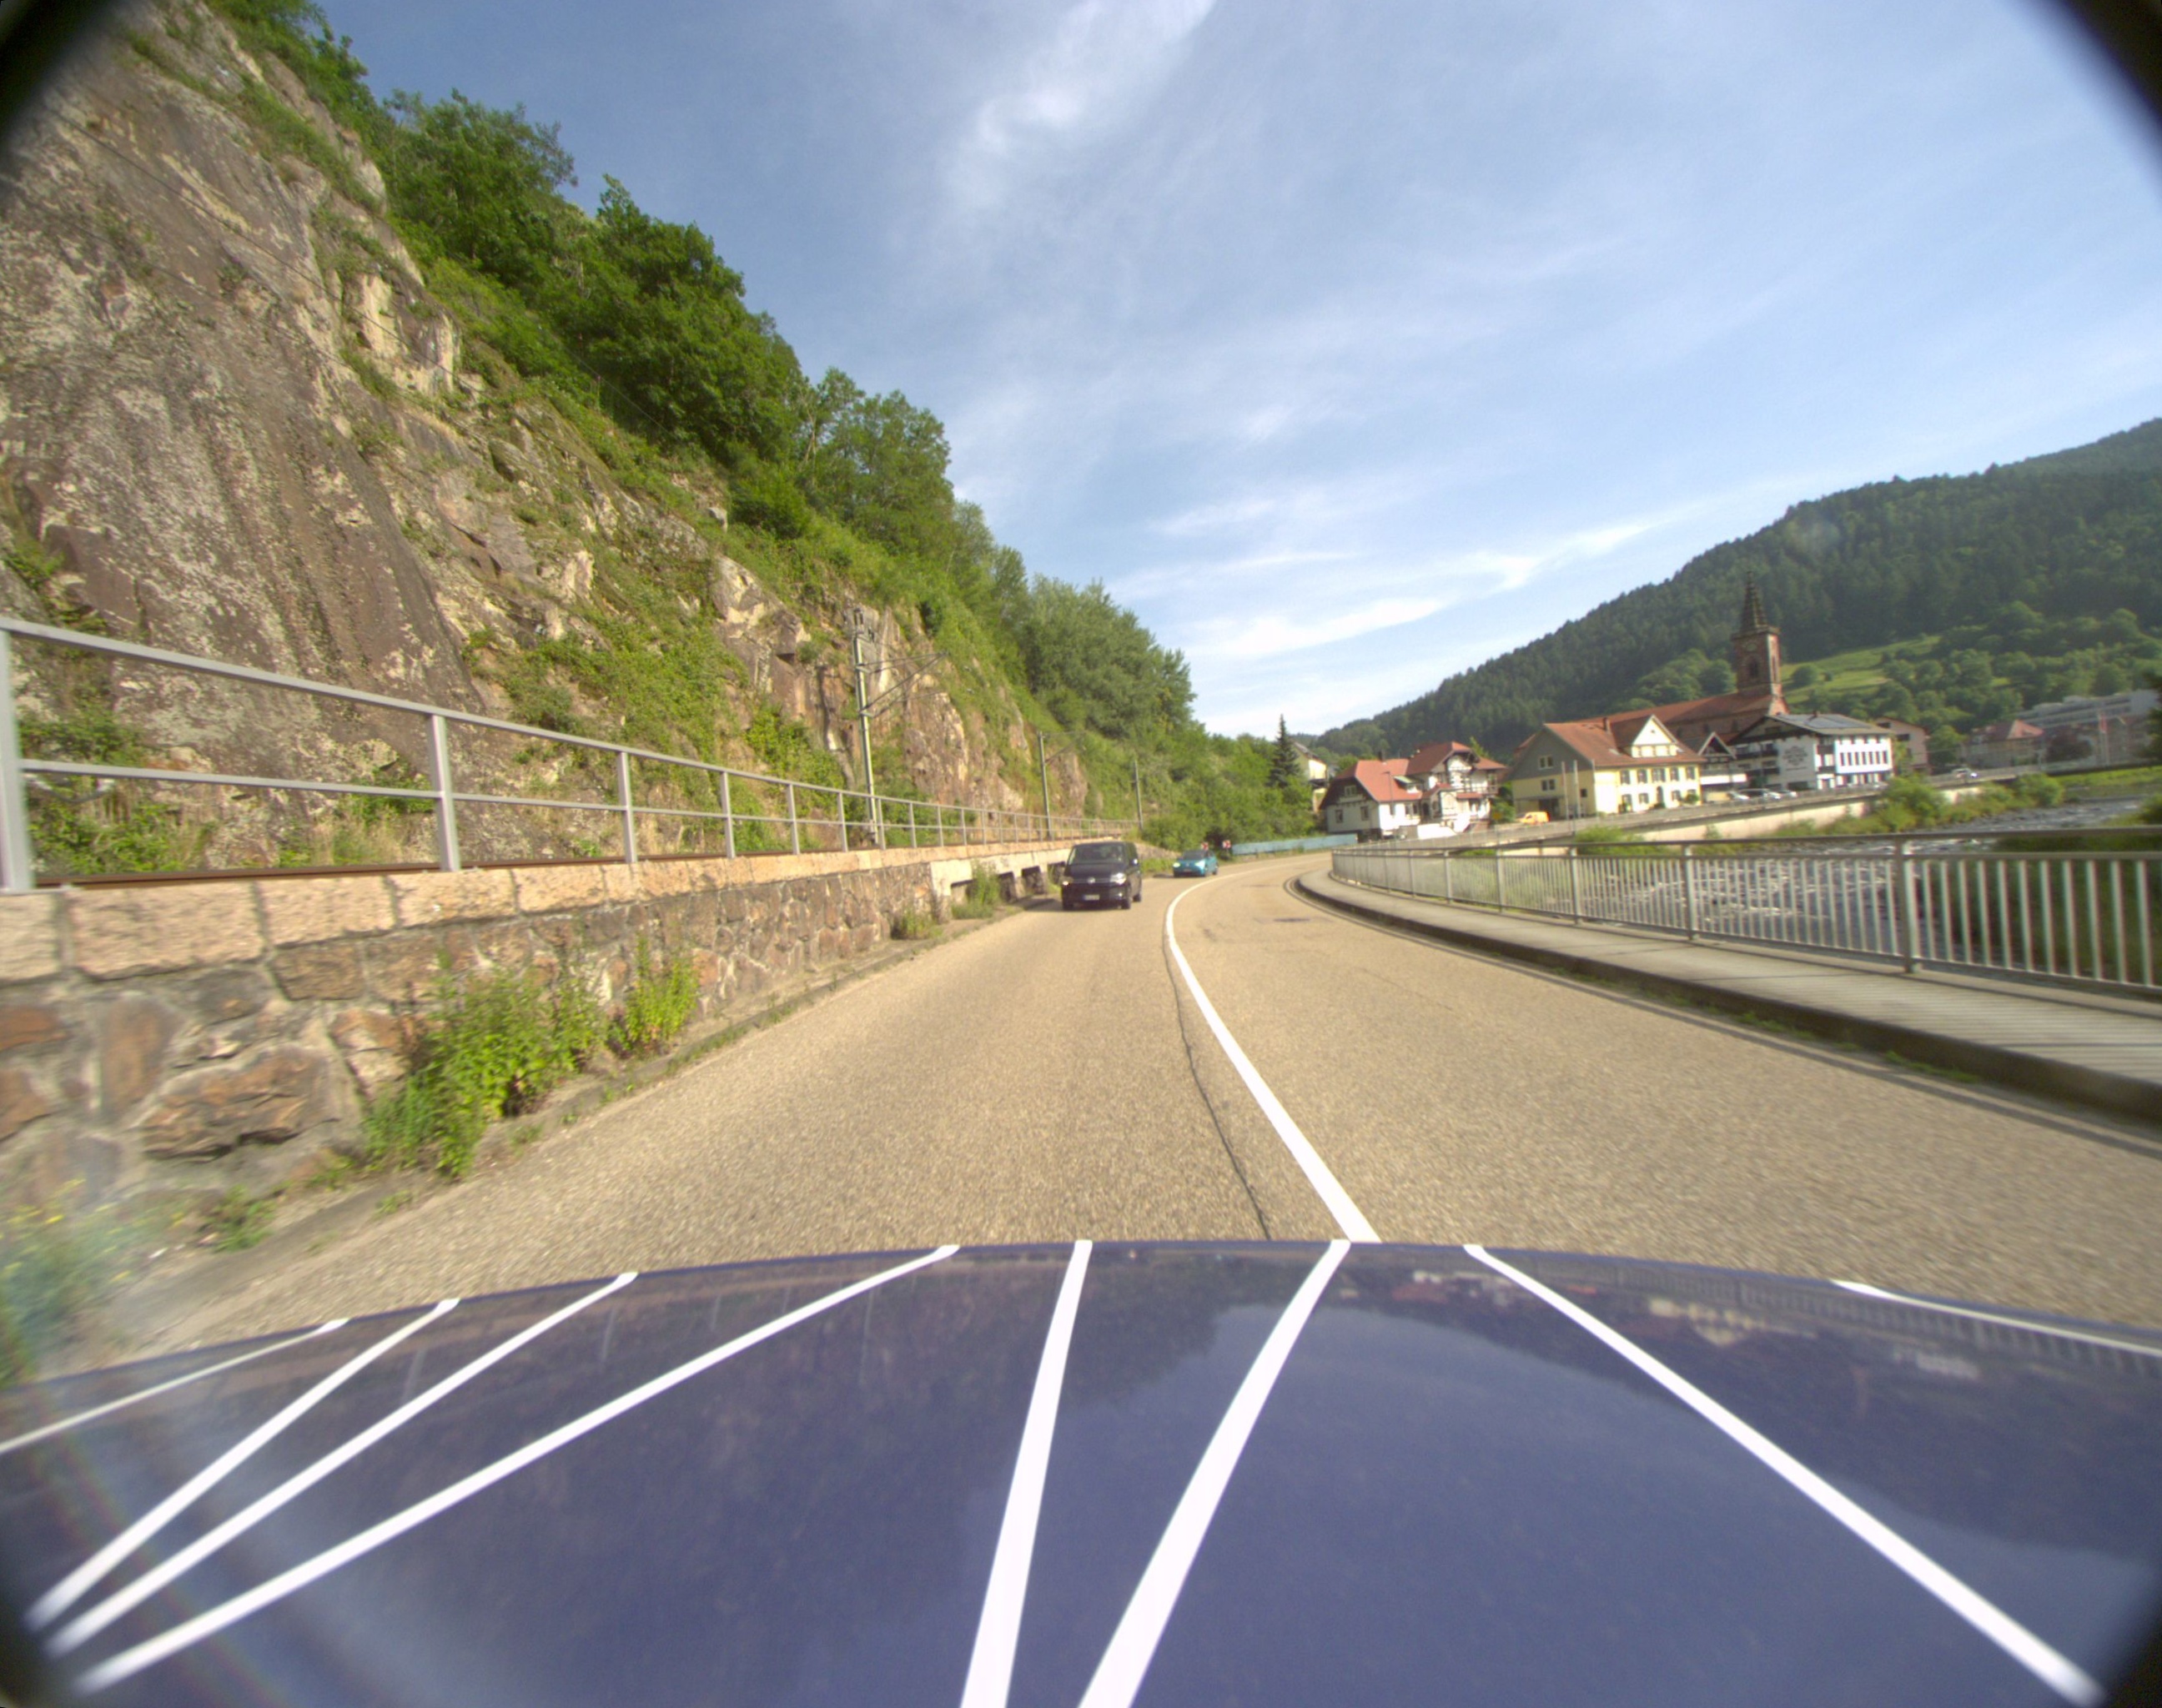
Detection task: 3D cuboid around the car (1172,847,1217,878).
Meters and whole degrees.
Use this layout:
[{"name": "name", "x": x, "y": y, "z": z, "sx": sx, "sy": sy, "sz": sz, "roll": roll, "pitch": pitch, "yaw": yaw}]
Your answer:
[{"name": "car", "x": 6.451, "y": 0.440, "z": 42.909, "sx": 1.680, "sy": 1.513, "sz": 3.871, "roll": -3, "pitch": 0, "yaw": 20}]

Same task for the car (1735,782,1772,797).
[{"name": "car", "x": 96.827, "y": -9.256, "z": 109.481, "sx": 1.372, "sy": 1.883, "sz": 3.750, "roll": -6, "pitch": 5, "yaw": -20}]

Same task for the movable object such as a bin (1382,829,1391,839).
[{"name": "movable object such as a bin", "x": 33.512, "y": -2.181, "z": 83.397, "sx": 0.753, "sy": 1.056, "sz": 0.478, "roll": -6, "pitch": 1, "yaw": -27}]

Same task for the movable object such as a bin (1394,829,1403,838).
[{"name": "movable object such as a bin", "x": 34.289, "y": -2.185, "z": 82.118, "sx": 0.653, "sy": 0.931, "sz": 0.472, "roll": -6, "pitch": 0, "yaw": -27}]

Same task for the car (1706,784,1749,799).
[{"name": "car", "x": 93.609, "y": -9.077, "z": 110.153, "sx": 1.715, "sy": 1.948, "sz": 4.447, "roll": -6, "pitch": 5, "yaw": -20}]

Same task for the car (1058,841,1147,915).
[{"name": "car", "x": 0.767, "y": 0.620, "z": 22.776, "sx": 1.886, "sy": 1.952, "sz": 4.869, "roll": -1, "pitch": 1, "yaw": 10}]

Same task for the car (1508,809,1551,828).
[{"name": "car", "x": 54.825, "y": -4.316, "z": 92.842, "sx": 4.839, "sy": 1.986, "sz": 1.911, "roll": -4, "pitch": 0, "yaw": -23}]

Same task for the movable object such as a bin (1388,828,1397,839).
[{"name": "movable object such as a bin", "x": 34.076, "y": -2.228, "z": 83.074, "sx": 0.753, "sy": 1.056, "sz": 0.478, "roll": -6, "pitch": 1, "yaw": -27}]

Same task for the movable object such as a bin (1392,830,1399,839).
[{"name": "movable object such as a bin", "x": 34.238, "y": -2.157, "z": 82.645, "sx": 0.548, "sy": 0.895, "sz": 0.368, "roll": -6, "pitch": 1, "yaw": -33}]
